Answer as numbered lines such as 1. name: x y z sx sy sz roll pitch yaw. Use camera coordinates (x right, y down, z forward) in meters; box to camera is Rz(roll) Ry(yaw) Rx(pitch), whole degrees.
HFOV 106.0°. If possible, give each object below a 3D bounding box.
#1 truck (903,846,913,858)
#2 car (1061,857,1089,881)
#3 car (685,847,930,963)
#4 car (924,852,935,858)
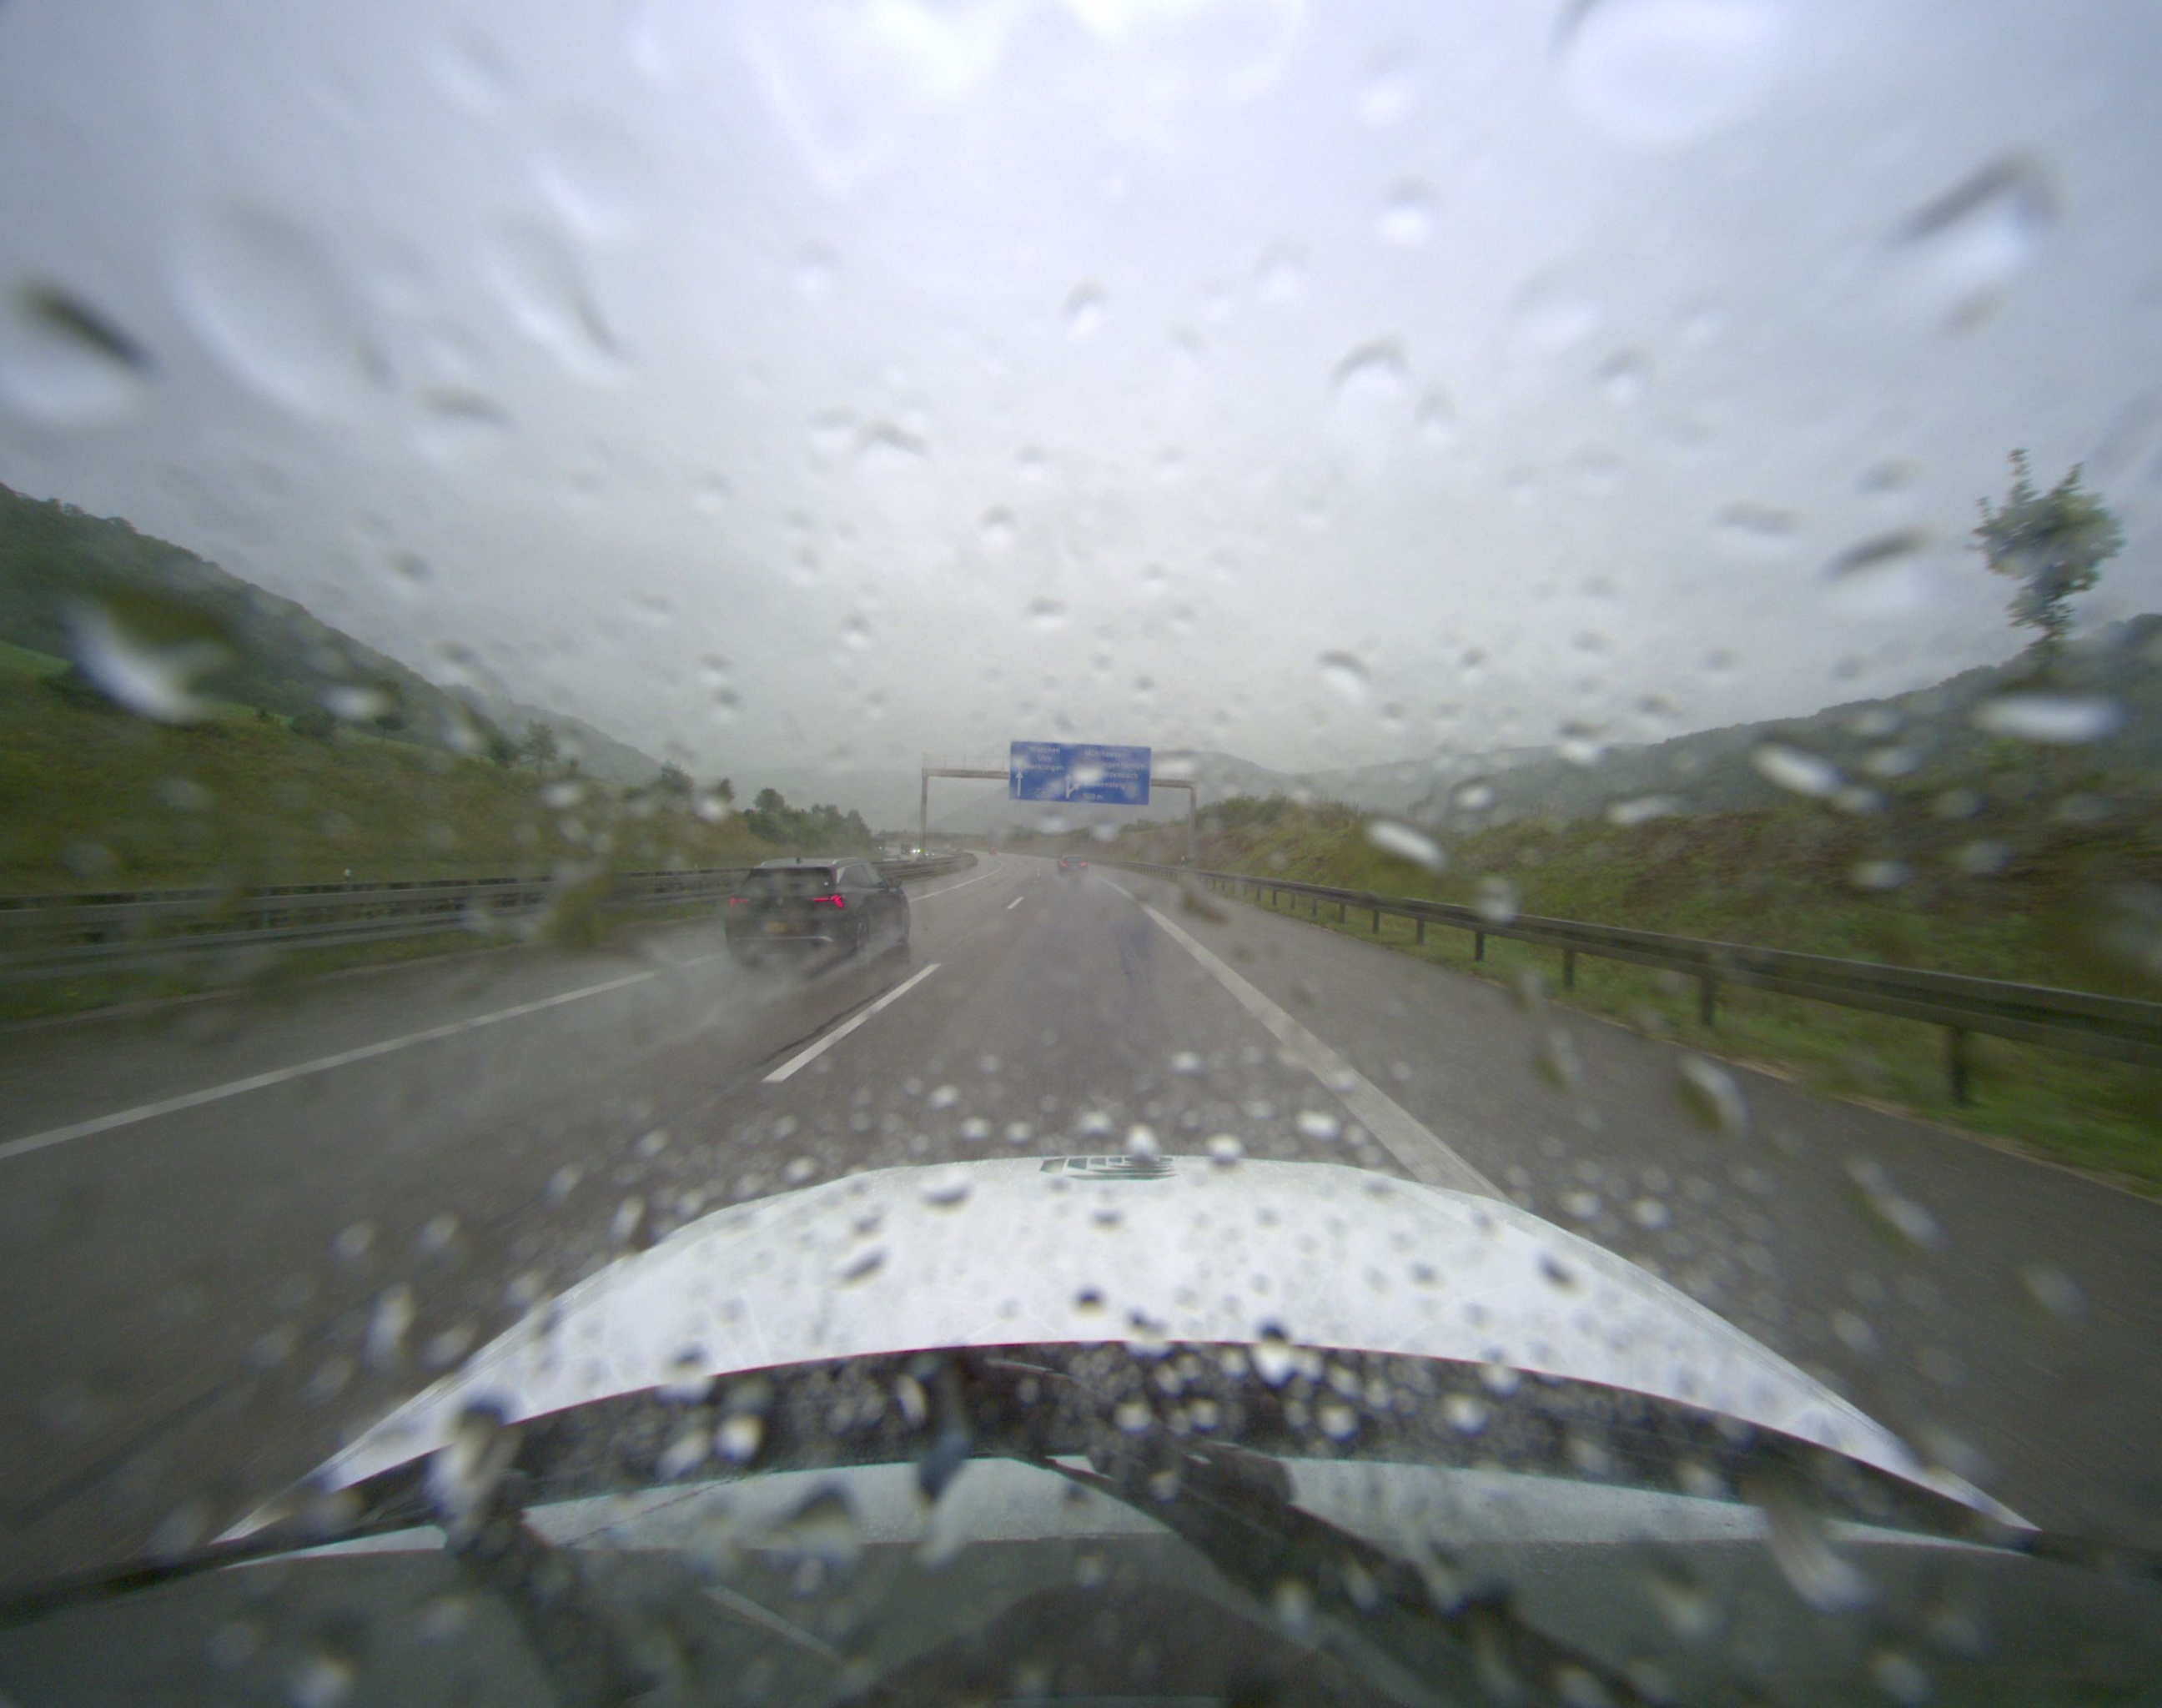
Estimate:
1. truck: -51.974 -0.543 245.135 2.717 3.542 5.291 -1 0 -10
2. car: -0.343 0.916 51.293 1.674 1.472 3.813 1 0 0
3. car: -4.033 0.678 13.114 2.399 1.515 4.781 0 0 -2
4. car: -36.410 0.246 195.376 1.989 1.519 3.996 1 -1 -2
